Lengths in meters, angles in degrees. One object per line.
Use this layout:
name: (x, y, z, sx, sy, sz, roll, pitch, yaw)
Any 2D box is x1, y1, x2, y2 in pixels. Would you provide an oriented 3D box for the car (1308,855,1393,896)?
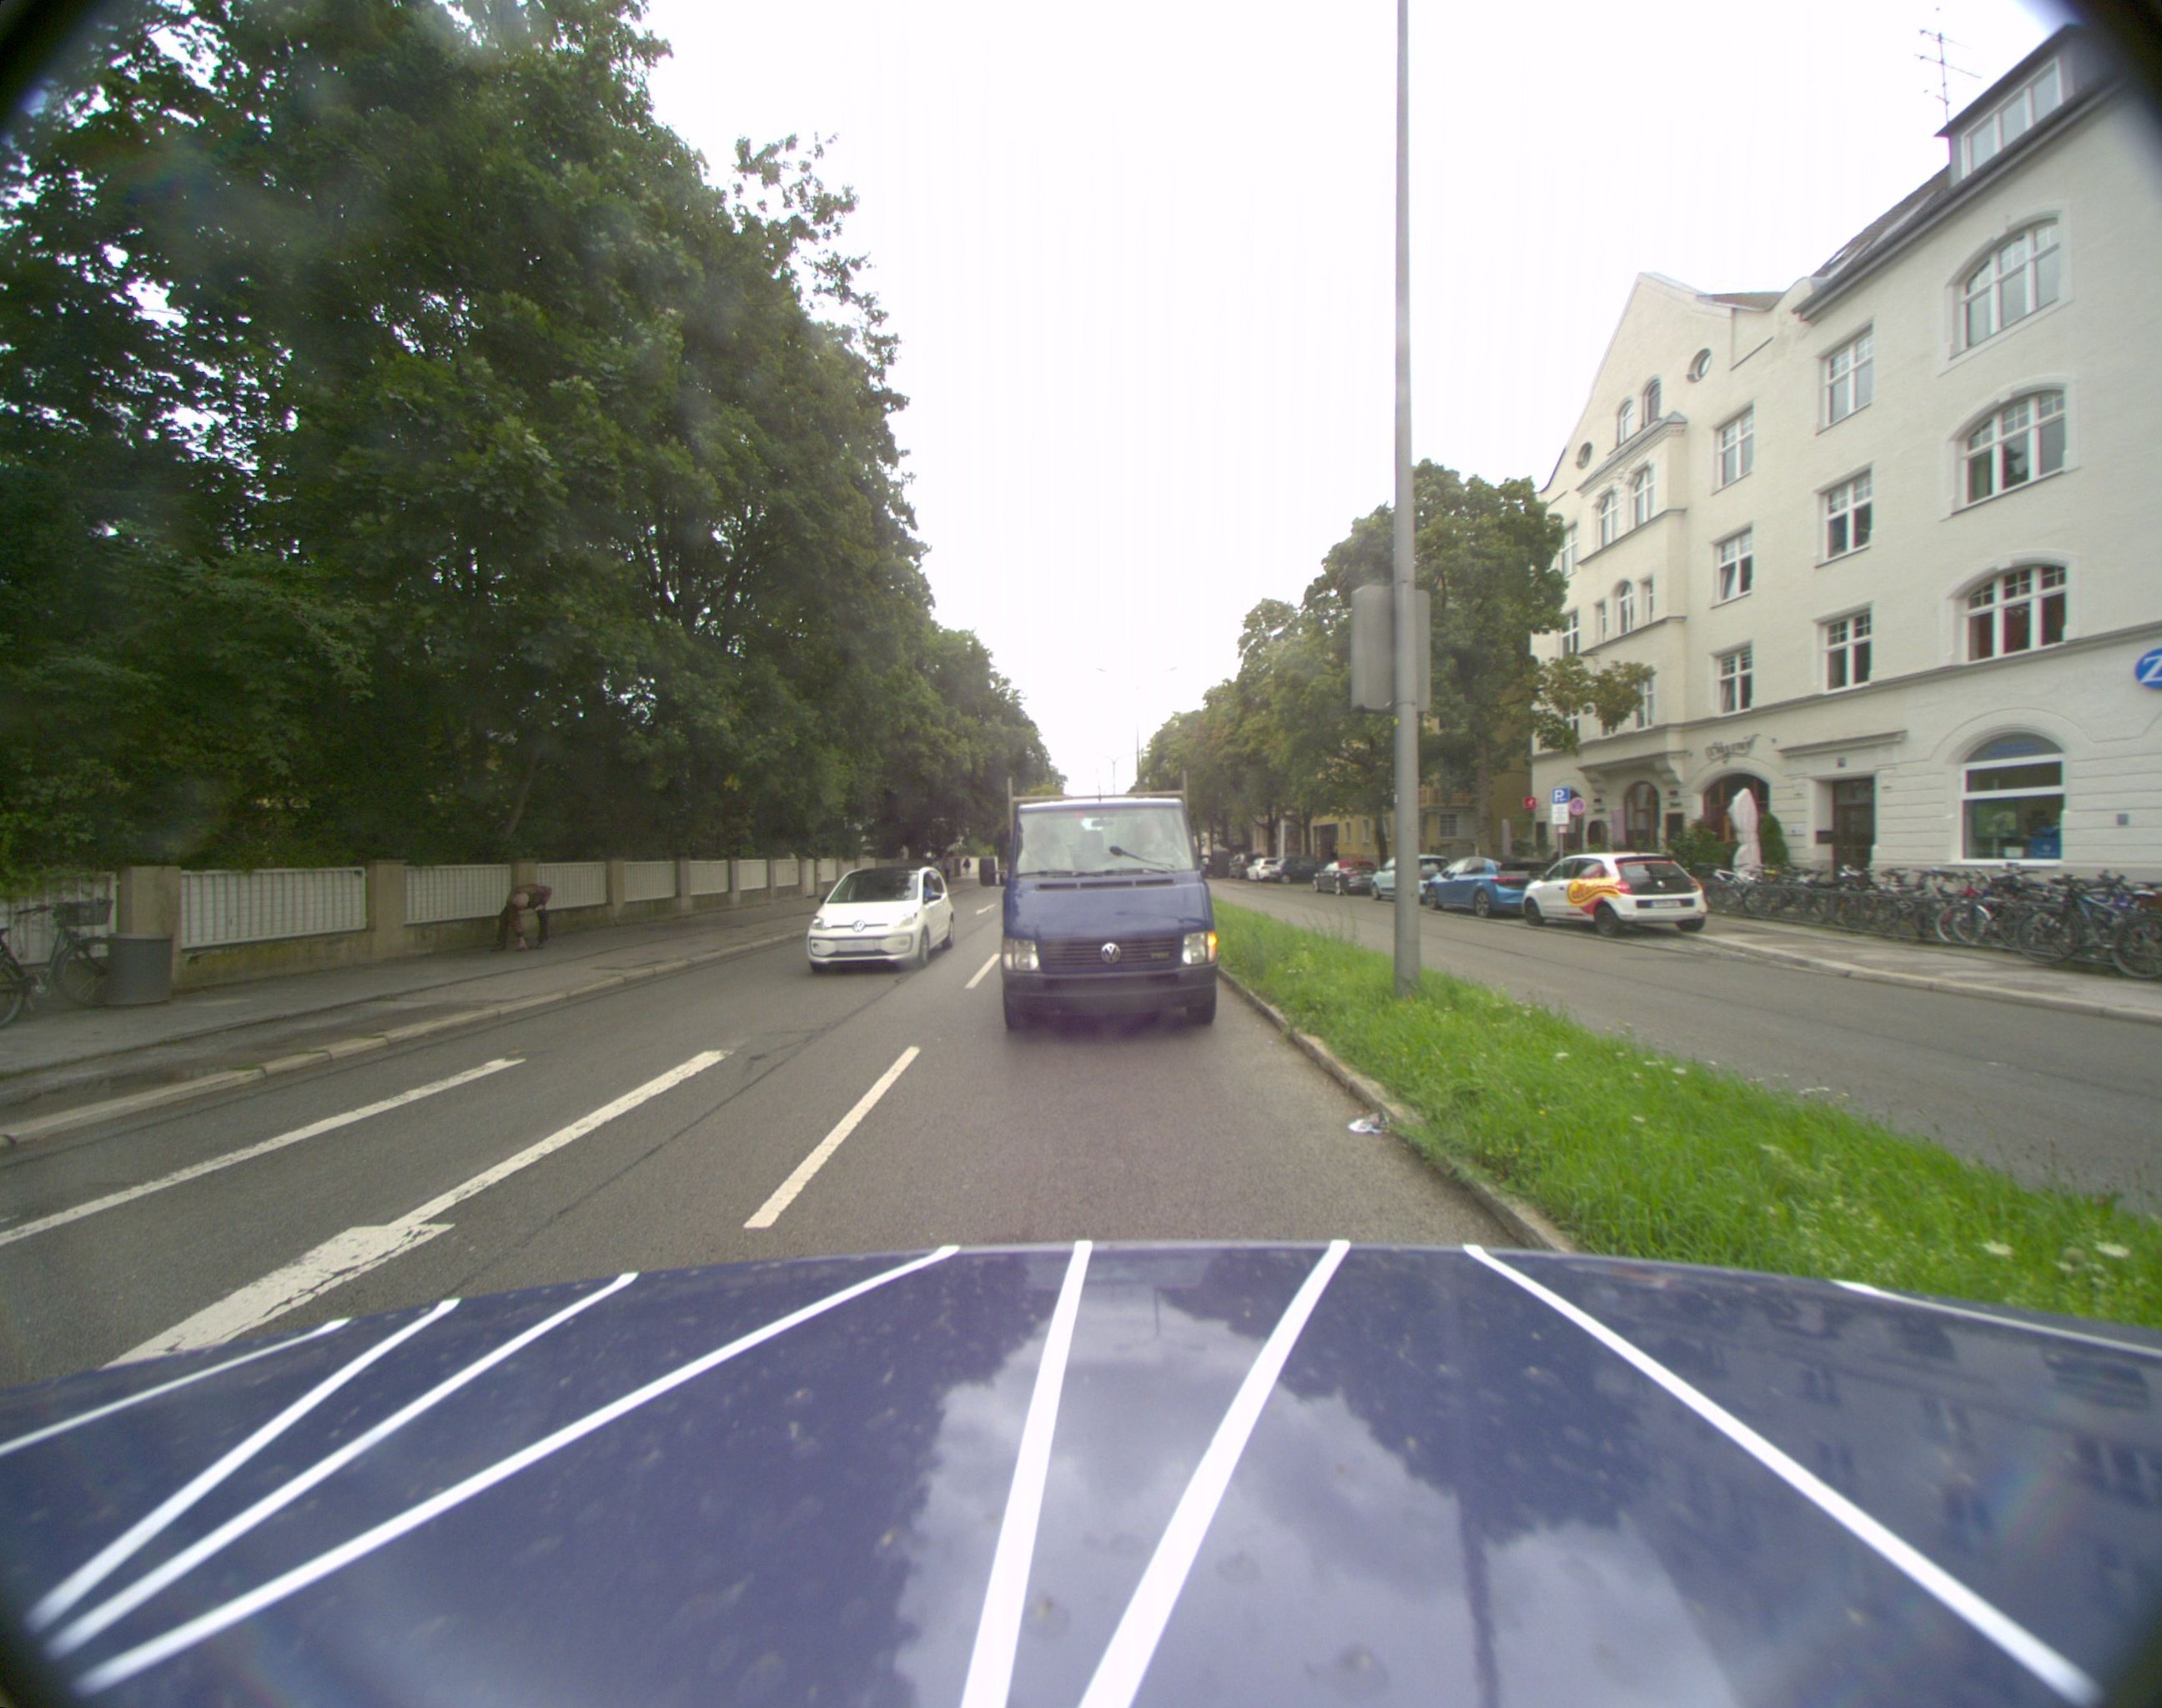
car: (10.709, 0.802, 30.576, 1.815, 1.498, 4.645, -1, 0, 1)

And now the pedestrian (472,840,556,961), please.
pedestrian: (-9.363, 0.750, 12.577, 0.779, 1.931, 0.802, 0, 1, 1)

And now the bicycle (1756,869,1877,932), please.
bicycle: (14.210, 0.869, 14.734, 0.331, 1.109, 1.677, -1, 0, -27)

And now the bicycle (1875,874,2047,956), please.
bicycle: (13.227, 0.871, 11.484, 0.331, 1.109, 1.678, -1, 0, -23)

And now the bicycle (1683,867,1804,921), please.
bicycle: (14.628, 0.858, 16.838, 0.460, 1.109, 1.961, -1, 0, -31)

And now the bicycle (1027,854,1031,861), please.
bicycle: (-8.845, 0.605, 129.052, 0.490, 1.092, 1.631, -1, 0, -10)

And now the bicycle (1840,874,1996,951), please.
bicycle: (13.417, 0.903, 12.247, 0.331, 1.109, 1.678, -1, 0, -23)

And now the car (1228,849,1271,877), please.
car: (11.126, 0.565, 50.542, 1.815, 1.718, 4.767, -1, 0, 1)

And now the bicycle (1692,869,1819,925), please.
bicycle: (14.446, 0.890, 16.348, 0.505, 1.109, 1.984, -1, 0, -31)

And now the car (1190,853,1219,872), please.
car: (11.290, 0.751, 69.724, 1.883, 1.636, 4.770, -1, 0, 1)

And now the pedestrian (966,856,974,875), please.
pedestrian: (-9.246, 0.964, 63.272, 0.529, 1.572, 0.729, 1, 1, 0)

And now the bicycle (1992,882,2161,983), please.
bicycle: (12.370, 0.924, 9.206, 0.331, 1.109, 1.678, -1, 0, -23)

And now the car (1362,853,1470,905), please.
car: (10.774, 0.753, 24.752, 1.815, 1.498, 3.960, -1, 0, 1)

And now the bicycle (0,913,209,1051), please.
bicycle: (-9.849, 1.197, 7.279, 0.624, 1.084, 2.026, -1, 0, 0)

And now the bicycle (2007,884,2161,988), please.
bicycle: (12.104, 0.937, 8.819, 0.368, 1.109, 1.678, -1, 0, -23)

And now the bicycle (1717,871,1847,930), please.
bicycle: (14.297, 0.913, 15.555, 0.550, 1.109, 1.877, -1, 0, -31)

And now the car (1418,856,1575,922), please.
car: (10.714, 0.819, 19.984, 1.815, 1.498, 4.291, -1, 0, 1)

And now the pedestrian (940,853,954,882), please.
pedestrian: (-8.103, 0.804, 46.046, 0.668, 1.695, 0.766, 1, 1, 0)

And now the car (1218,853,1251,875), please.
car: (11.080, 0.713, 54.939, 1.731, 1.549, 3.009, -1, 0, -1)

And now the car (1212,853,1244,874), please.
car: (11.369, 0.715, 59.023, 1.731, 1.552, 4.057, -1, 0, 1)

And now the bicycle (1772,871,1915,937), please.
bicycle: (14.006, 0.887, 14.032, 0.331, 1.109, 1.871, -1, 0, -23)

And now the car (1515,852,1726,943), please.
car: (10.564, 0.757, 15.253, 1.653, 1.576, 3.790, -1, 0, 2)

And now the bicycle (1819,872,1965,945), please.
bicycle: (13.628, 0.879, 12.828, 0.331, 1.109, 1.678, -1, 0, -23)

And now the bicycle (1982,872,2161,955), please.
bicycle: (14.768, 0.848, 11.347, 0.331, 1.109, 1.678, -1, 0, -23)

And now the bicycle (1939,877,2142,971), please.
bicycle: (12.840, 0.891, 10.244, 0.331, 1.109, 1.678, -1, 0, -23)

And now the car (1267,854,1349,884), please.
car: (12.302, 0.782, 41.354, 3.899, 1.455, 1.732, -2, 0, -1)

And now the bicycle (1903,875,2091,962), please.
bicycle: (12.988, 0.873, 10.843, 0.383, 1.109, 1.678, -1, 0, -23)

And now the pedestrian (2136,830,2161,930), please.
pedestrian: (17.665, 0.420, 12.183, 0.422, 1.622, 0.783, -1, 1, 7)

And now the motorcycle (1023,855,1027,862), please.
motorcycle: (-8.917, 0.739, 121.511, 0.497, 1.135, 1.631, -1, 0, -10)

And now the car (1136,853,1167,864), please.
car: (9.549, 0.582, 103.318, 1.866, 1.367, 3.989, -1, -1, -42)

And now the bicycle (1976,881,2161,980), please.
bicycle: (12.639, 0.924, 9.608, 0.367, 1.109, 1.678, -1, 0, -23)

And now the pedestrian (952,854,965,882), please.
pedestrian: (-7.409, 0.832, 46.069, 0.668, 1.683, 0.729, 1, 1, 0)

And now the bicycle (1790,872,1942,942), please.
bicycle: (13.819, 0.903, 13.453, 0.331, 1.109, 1.871, -1, 0, -23)

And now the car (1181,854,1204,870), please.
car: (11.101, 0.757, 75.704, 1.696, 1.446, 4.492, -1, 0, 1)

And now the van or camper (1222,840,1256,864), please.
van or camper: (17.347, -0.224, 83.616, 2.351, 2.564, 6.851, -1, 0, 1)

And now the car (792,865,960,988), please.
car: (-3.031, 0.995, 11.958, 1.647, 1.553, 3.586, -1, 0, 0)

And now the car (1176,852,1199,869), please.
car: (11.313, 0.641, 80.889, 1.878, 1.677, 4.438, -1, 0, 1)

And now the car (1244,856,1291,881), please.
car: (10.956, 0.820, 44.877, 1.731, 1.394, 4.404, -1, 0, 1)

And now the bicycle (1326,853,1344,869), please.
bicycle: (19.329, 0.521, 57.870, 0.771, 1.215, 1.930, -1, 0, 0)

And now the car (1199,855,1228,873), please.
car: (11.137, 0.794, 64.022, 1.731, 1.398, 4.363, -1, 0, 1)

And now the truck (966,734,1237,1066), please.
truck: (0.196, 0.343, 8.291, 1.998, 2.475, 5.151, -1, 0, 1)

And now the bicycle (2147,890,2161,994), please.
bicycle: (12.095, 0.951, 7.572, 0.331, 1.109, 1.678, -1, 0, -23)
